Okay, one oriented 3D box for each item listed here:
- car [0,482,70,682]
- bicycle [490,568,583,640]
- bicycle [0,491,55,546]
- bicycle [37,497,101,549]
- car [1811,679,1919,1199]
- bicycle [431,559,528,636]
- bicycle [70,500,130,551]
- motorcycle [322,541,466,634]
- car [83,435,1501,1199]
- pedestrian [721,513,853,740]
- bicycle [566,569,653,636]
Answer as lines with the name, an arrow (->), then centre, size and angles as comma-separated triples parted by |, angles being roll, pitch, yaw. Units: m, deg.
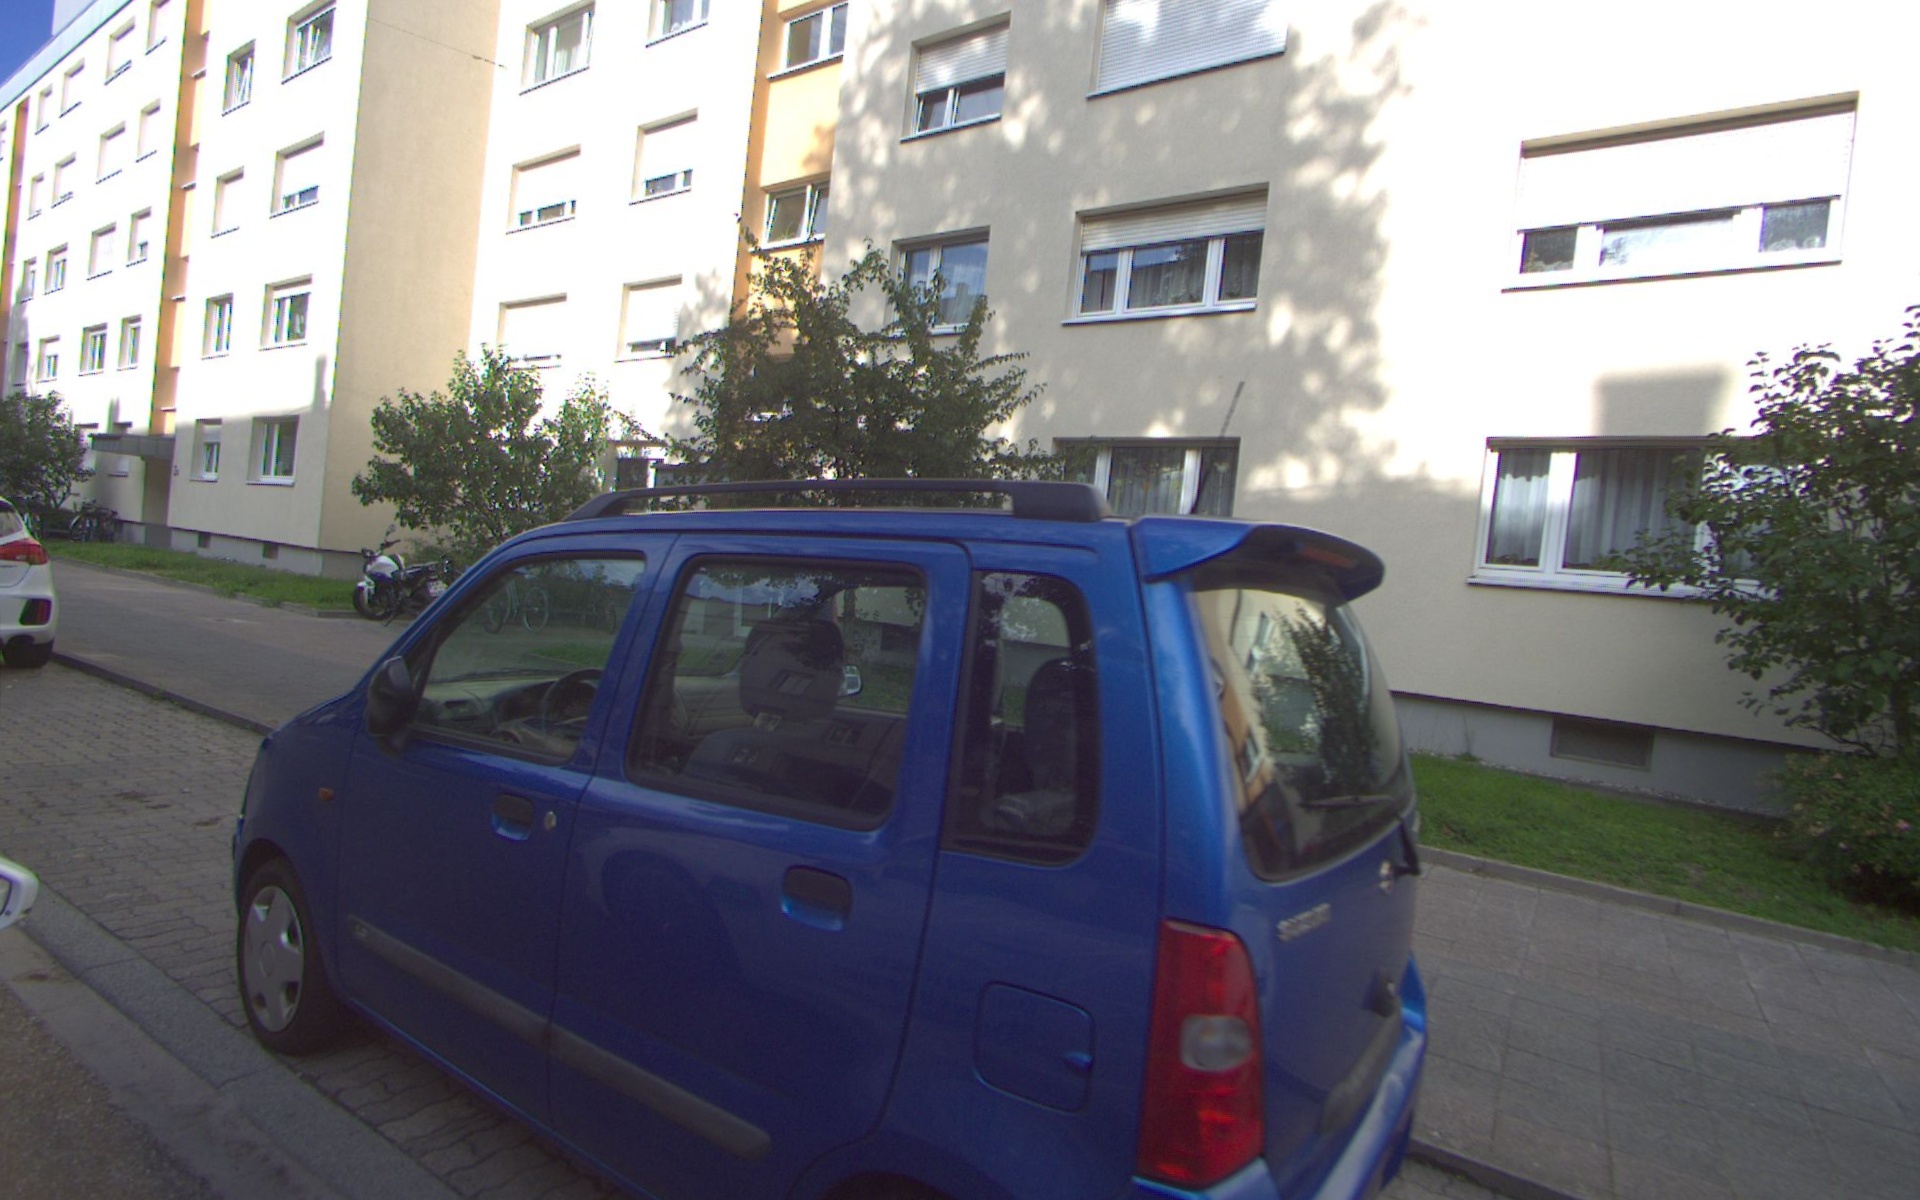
car -> -9.390, -0.369, 8.443 | 4.567, 1.507, 1.728 | 7, 1, 34
bicycle -> -6.446, 0.055, 15.286 | 1.491, 0.939, 0.459 | 7, 2, 32
bicycle -> -23.003, -2.022, 24.699 | 2.173, 1.203, 0.596 | 7, 4, 33
bicycle -> -22.420, -1.948, 25.299 | 2.173, 1.129, 0.597 | 7, 2, 33
car -> 3.246, 1.066, 0.466 | 4.048, 1.480, 1.729 | 7, 1, 32
bicycle -> -6.916, -0.043, 14.456 | 1.491, 0.954, 0.459 | 7, 2, 32
bicycle -> -22.085, -1.912, 25.821 | 2.173, 1.129, 0.529 | 7, 2, 33
motorcycle -> -7.913, -0.188, 14.010 | 2.354, 1.058, 0.630 | 7, 2, 32
car -> -0.814, 0.503, 3.050 | 4.050, 1.671, 1.728 | 7, 1, 34
pedestrian -> -1.426, 0.206, 8.283 | 0.760, 1.743, 0.541 | 7, 2, 38
bicycle -> -5.781, 0.033, 16.575 | 1.491, 0.939, 0.459 | 7, 2, 32
